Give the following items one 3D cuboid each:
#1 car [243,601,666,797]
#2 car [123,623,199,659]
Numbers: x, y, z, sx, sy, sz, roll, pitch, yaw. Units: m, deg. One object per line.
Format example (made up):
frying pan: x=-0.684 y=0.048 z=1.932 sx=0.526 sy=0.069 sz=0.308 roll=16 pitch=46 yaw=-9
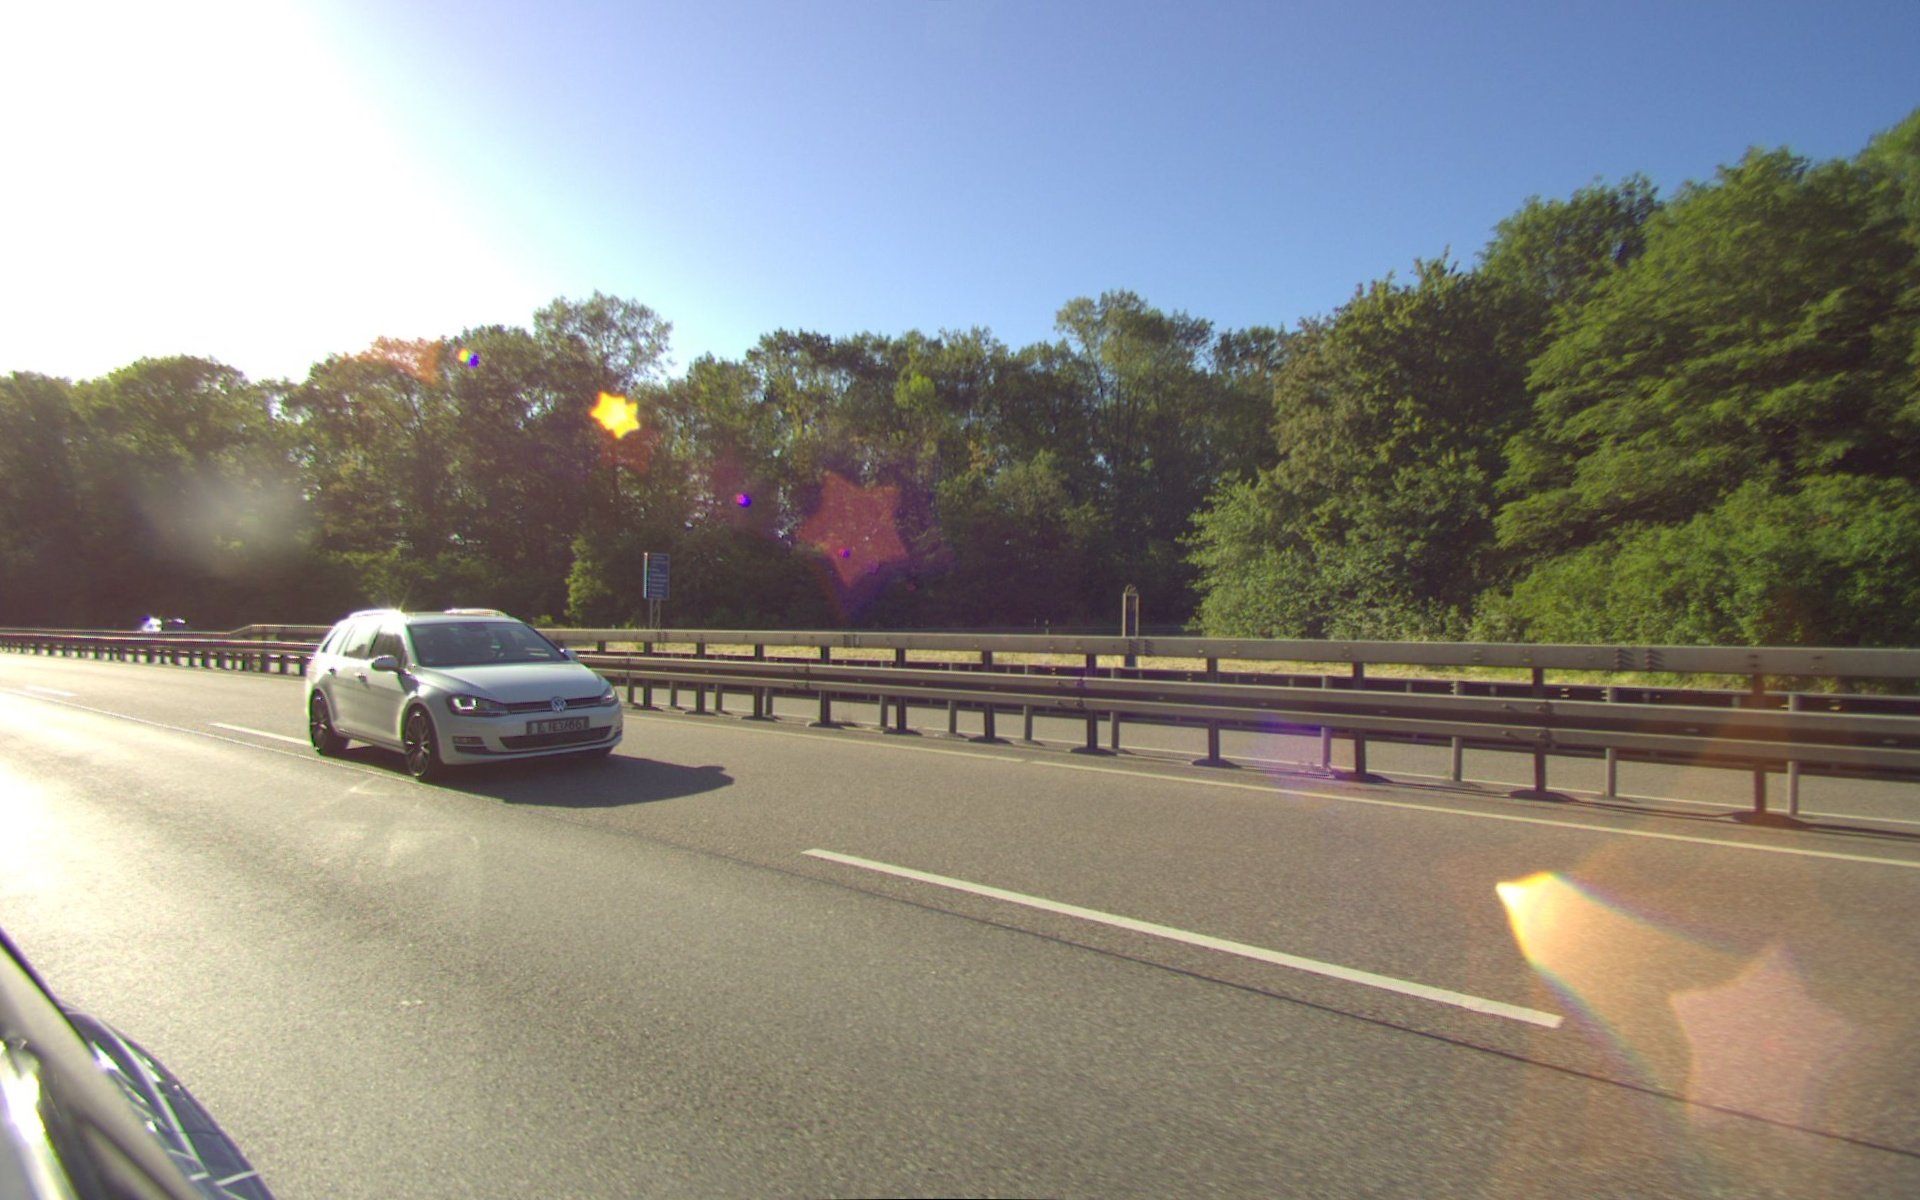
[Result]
car: x=-5.439 y=0.821 z=10.424 sx=5.596 sy=1.519 sz=1.909 roll=-1 pitch=-1 yaw=41
car: x=-43.791 y=2.190 z=55.434 sx=5.300 sy=1.862 sz=1.976 roll=-1 pitch=-1 yaw=36
